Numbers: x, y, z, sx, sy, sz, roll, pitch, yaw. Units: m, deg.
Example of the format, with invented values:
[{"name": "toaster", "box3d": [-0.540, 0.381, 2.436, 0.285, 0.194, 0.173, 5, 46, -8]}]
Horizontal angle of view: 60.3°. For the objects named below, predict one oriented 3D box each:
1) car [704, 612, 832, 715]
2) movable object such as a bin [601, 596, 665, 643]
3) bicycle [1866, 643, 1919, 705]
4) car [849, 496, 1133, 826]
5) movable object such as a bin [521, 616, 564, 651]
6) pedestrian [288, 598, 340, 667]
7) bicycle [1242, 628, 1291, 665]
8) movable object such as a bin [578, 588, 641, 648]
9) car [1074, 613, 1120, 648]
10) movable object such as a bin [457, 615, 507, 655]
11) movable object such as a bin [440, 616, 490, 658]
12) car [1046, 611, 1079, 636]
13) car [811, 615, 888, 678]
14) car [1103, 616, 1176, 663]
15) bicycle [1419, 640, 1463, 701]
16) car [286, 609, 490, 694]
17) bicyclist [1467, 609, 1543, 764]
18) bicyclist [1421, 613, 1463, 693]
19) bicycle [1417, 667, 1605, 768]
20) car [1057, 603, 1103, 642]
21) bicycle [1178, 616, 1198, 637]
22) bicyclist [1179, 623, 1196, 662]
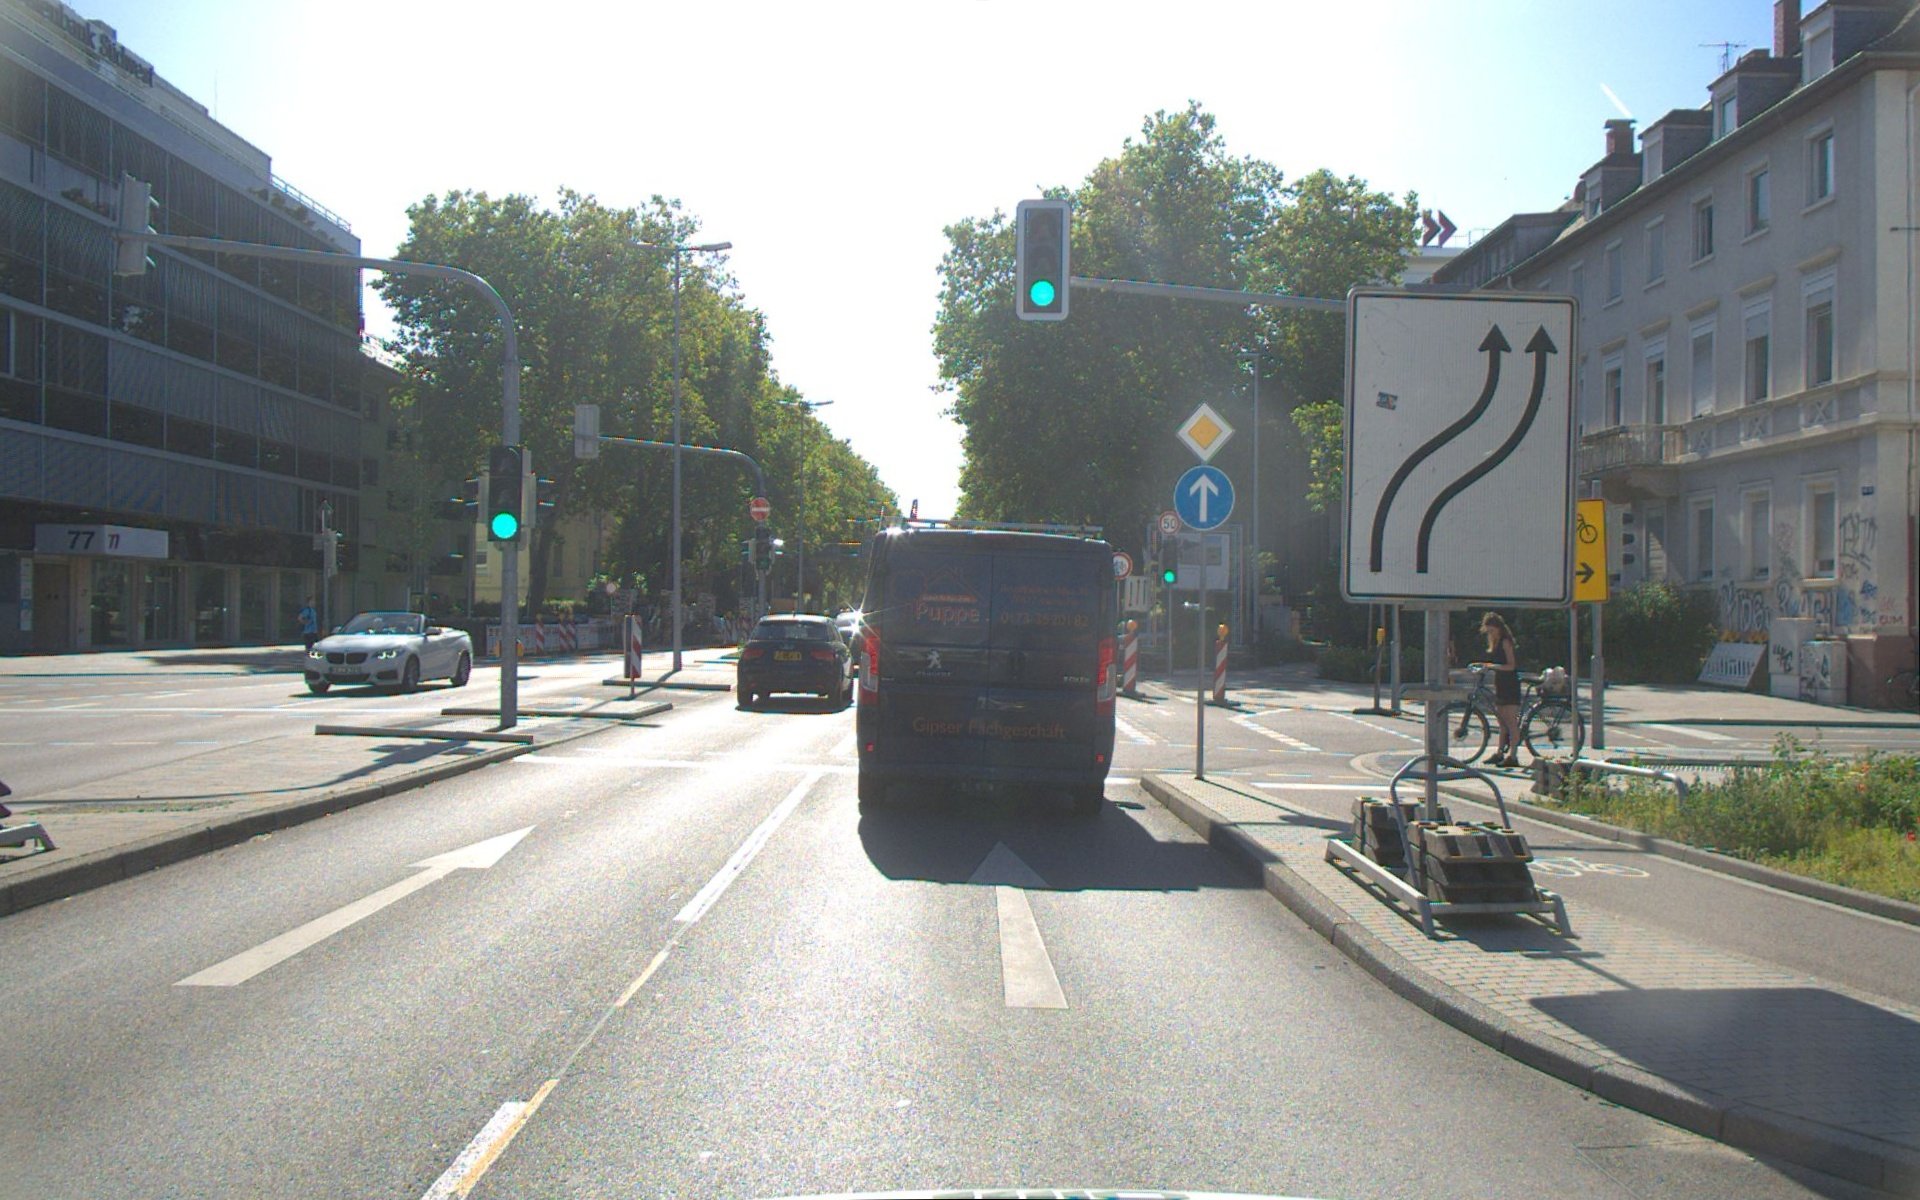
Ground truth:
[{"name": "car", "box3d": [-3.102, 0.993, 27.423, 1.711, 1.432, 3.999, 2, 1, -2]}, {"name": "movable object such as a bin", "box3d": [-16.856, 1.009, 85.533, 1.952, 2.318, 5.600, 0, -1, 3]}, {"name": "bicycle", "box3d": [17.520, 1.340, 29.888, 1.955, 1.099, 0.579, 1, -1, 2]}, {"name": "car", "box3d": [0.209, 0.445, 14.218, 2.052, 2.396, 3.932, 1, 0, -1]}, {"name": "movable object such as a bin", "box3d": [-16.607, 1.319, 65.809, 1.381, 1.361, 1.157, 1, -1, 2]}, {"name": "pedestrian", "box3d": [-16.424, 0.819, 42.071, 0.846, 1.741, 1.013, 0, 0, 7]}, {"name": "bicycle", "box3d": [8.761, 1.303, 47.195, 0.577, 1.023, 2.124, 0, -1, 34]}, {"name": "movable object such as a bin", "box3d": [-16.766, 0.849, 79.353, 2.103, 2.754, 5.351, 1, -1, -3]}, {"name": "car", "box3d": [6.205, 1.376, 75.137, 1.727, 1.534, 4.250, 1, -1, 0]}, {"name": "movable object such as a bin", "box3d": [-16.976, 1.233, 58.801, 1.189, 1.413, 1.856, 1, -1, 2]}, {"name": "movable object such as a bin", "box3d": [-16.890, 1.252, 56.465, 1.091, 1.413, 1.856, 1, -1, 2]}, {"name": "car", "box3d": [6.385, 1.478, 103.475, 1.784, 1.534, 4.677, 0, -1, 1]}, {"name": "car", "box3d": [-2.685, 1.115, 40.862, 1.711, 1.432, 3.998, 2, -1, -2]}, {"name": "car", "box3d": [6.003, 1.300, 55.910, 1.814, 1.505, 4.940, 1, 0, -1]}, {"name": "bicycle", "box3d": [9.343, 1.360, 32.167, 0.674, 1.117, 1.688, 0, 0, 12]}, {"name": "car", "box3d": [-10.082, 0.854, 29.507, 1.890, 1.369, 4.318, 0, 0, 4]}, {"name": "bicyclist", "box3d": [6.241, 0.973, 18.977, 0.591, 1.738, 0.858, 0, 0, 0]}, {"name": "bicyclist", "box3d": [9.357, 1.019, 32.115, 0.708, 1.526, 0.872, 0, 0, 12]}, {"name": "bicycle", "box3d": [6.290, 1.330, 18.920, 1.922, 1.043, 0.605, 2, 0, -1]}, {"name": "car", "box3d": [6.275, 1.153, 86.819, 1.984, 1.980, 5.272, 1, -1, 0]}, {"name": "bicycle", "box3d": [11.080, 1.276, 80.451, 0.766, 0.983, 1.823, 1, 0, 2]}, {"name": "bicyclist", "box3d": [11.080, 2.075, 80.569, 0.709, 1.852, 1.071, 1, -1, 1]}]
